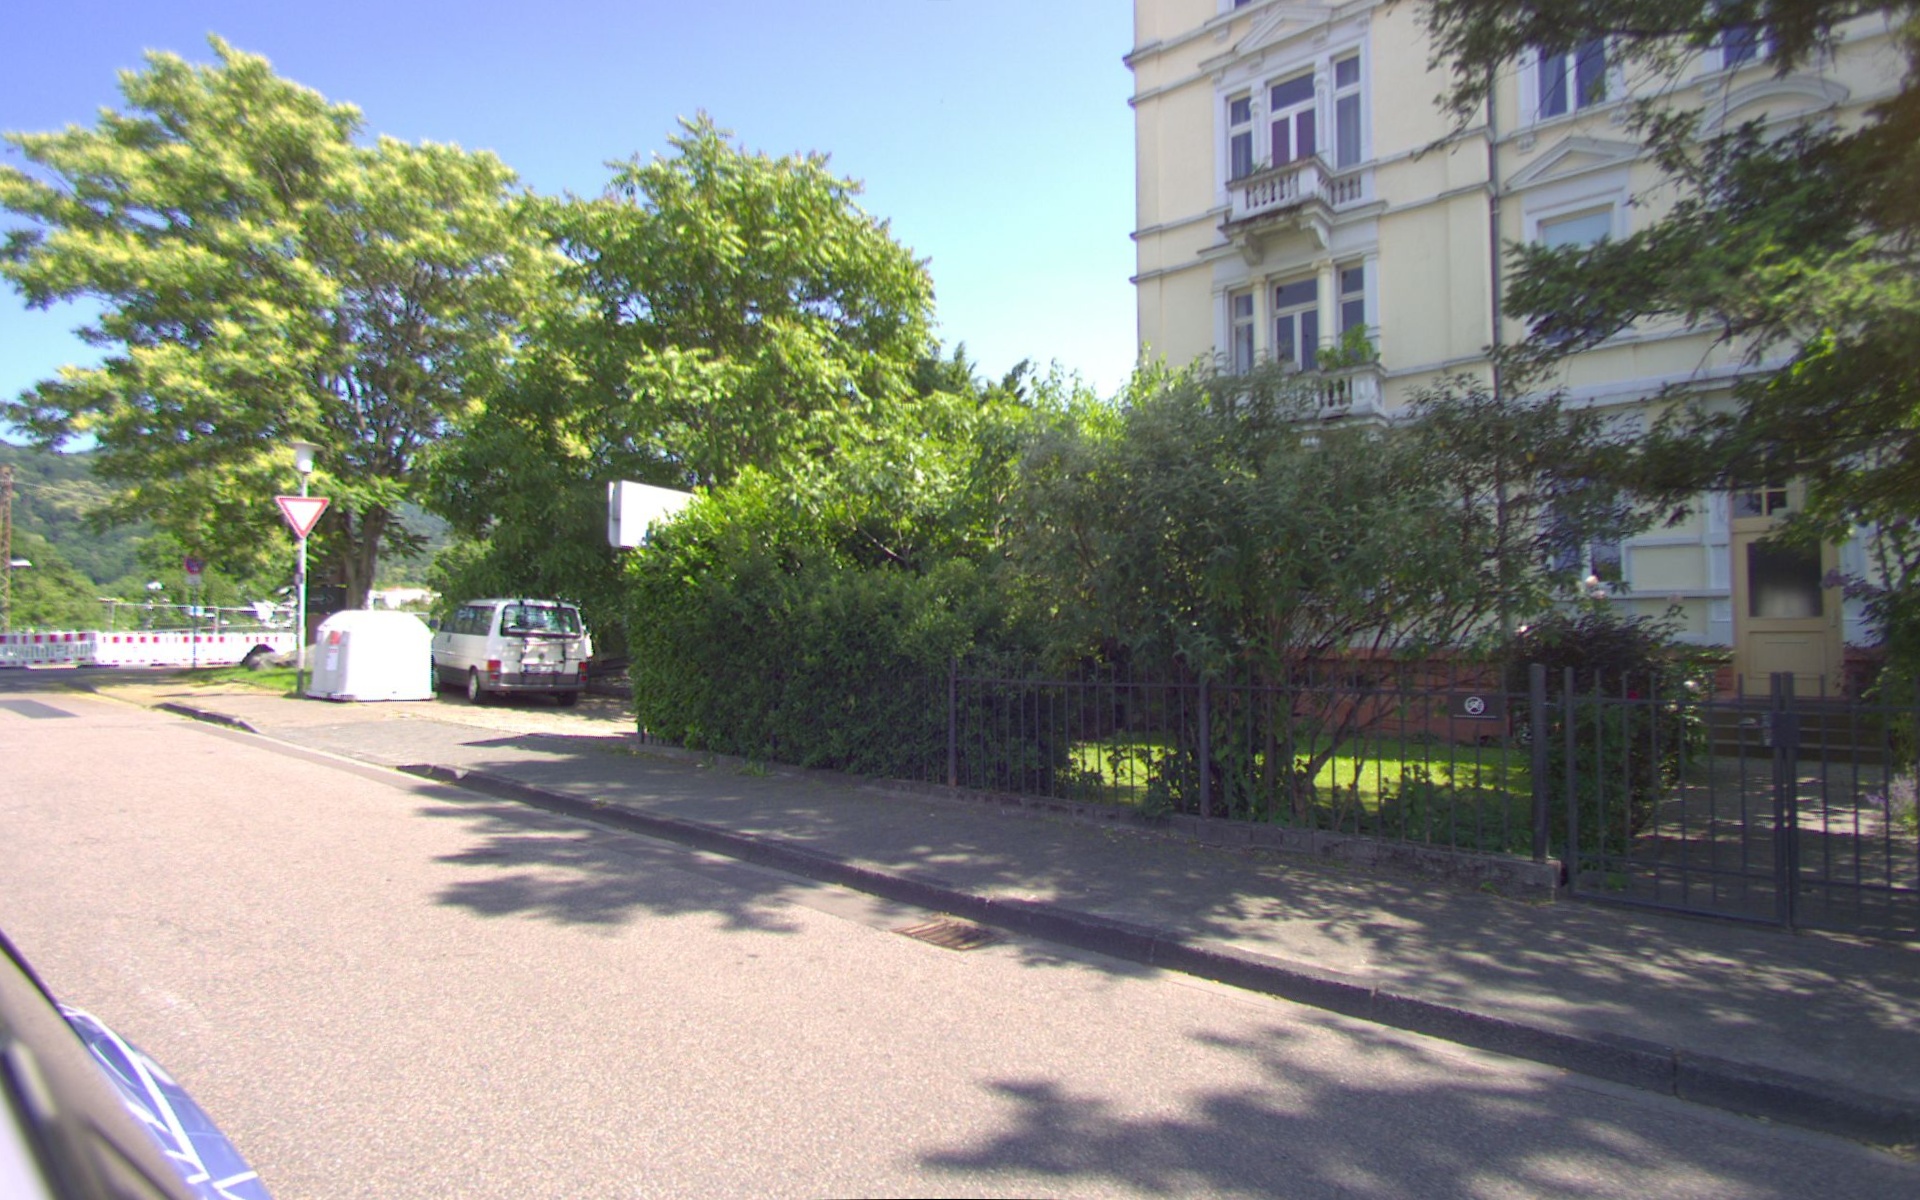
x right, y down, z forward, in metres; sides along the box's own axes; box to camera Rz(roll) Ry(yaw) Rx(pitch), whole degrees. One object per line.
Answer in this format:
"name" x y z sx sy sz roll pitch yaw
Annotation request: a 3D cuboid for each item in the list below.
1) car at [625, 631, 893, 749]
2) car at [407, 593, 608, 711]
"car" -2.803 1.329 14.591 1.651 1.477 3.375 -1 -7 43
"car" -8.783 0.920 19.381 1.969 1.945 5.108 5 -3 -41
